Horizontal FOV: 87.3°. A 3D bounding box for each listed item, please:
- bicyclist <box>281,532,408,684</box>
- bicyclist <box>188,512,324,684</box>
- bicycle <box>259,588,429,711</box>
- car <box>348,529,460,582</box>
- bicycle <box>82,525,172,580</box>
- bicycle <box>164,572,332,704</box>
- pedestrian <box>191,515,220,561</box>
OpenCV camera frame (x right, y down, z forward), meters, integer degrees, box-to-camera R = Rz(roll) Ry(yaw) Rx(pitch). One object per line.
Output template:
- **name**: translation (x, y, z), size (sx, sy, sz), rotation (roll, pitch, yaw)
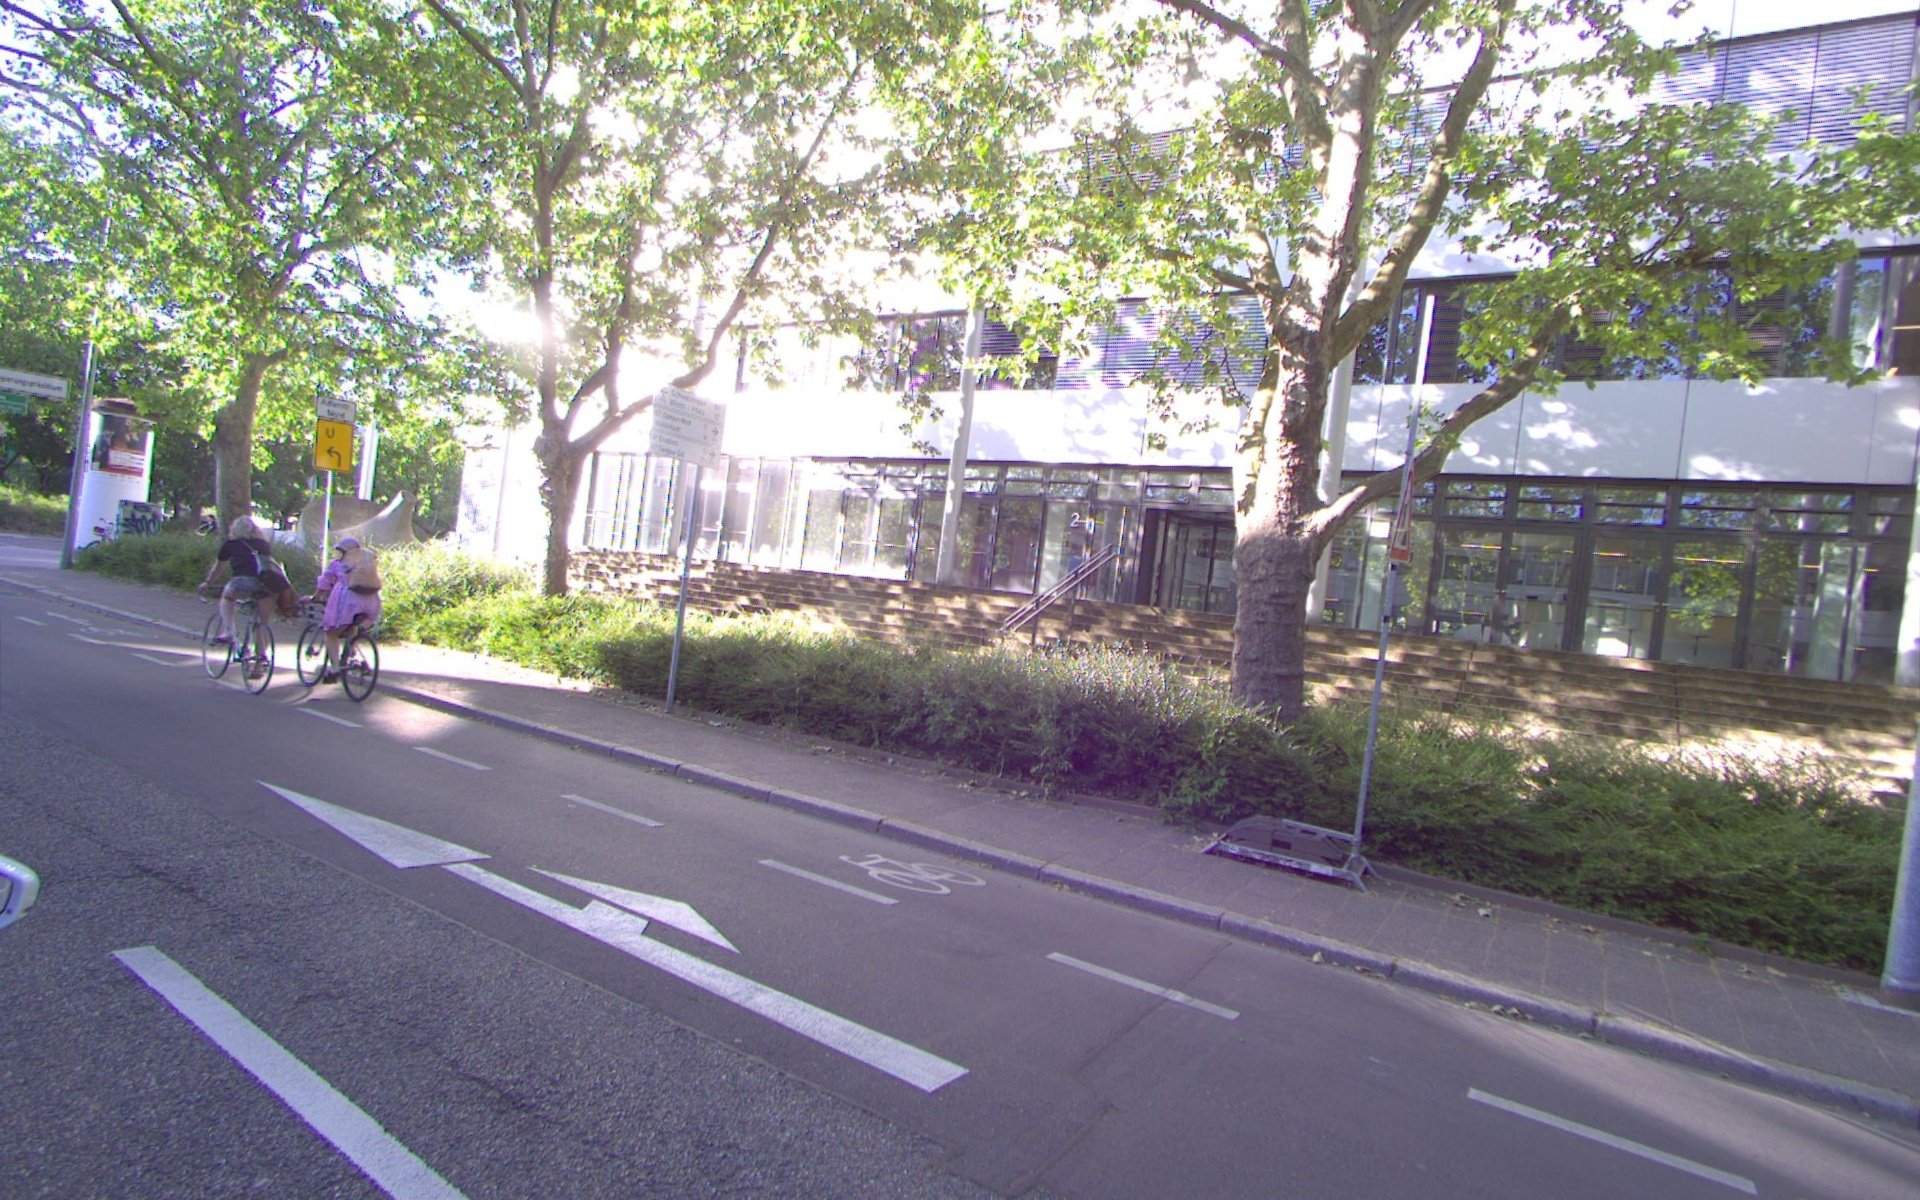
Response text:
- **bicyclist**: translation (-6.323, 0.082, 10.341), size (0.915, 1.417, 0.602), rotation (7, -2, 32)
- **bicyclist**: translation (-6.850, -0.021, 9.792), size (0.875, 1.533, 0.611), rotation (7, -2, 32)
- **bicycle**: translation (-6.329, 0.490, 10.305), size (1.850, 0.996, 0.602), rotation (7, -2, 32)
- **car**: translation (-25.880, -2.044, 46.957), size (1.969, 1.805, 3.998), rotation (7, -1, 37)
- **bicycle**: translation (-19.100, -1.085, 23.101), size (0.529, 1.049, 1.418), rotation (7, -1, 28)
- **bicycle**: translation (-6.957, 0.355, 9.811), size (1.702, 1.038, 0.611), rotation (7, -2, 32)
- **pedestrian**: translation (-31.463, -2.579, 41.955), size (0.620, 1.805, 0.620), rotation (7, 0, 34)
